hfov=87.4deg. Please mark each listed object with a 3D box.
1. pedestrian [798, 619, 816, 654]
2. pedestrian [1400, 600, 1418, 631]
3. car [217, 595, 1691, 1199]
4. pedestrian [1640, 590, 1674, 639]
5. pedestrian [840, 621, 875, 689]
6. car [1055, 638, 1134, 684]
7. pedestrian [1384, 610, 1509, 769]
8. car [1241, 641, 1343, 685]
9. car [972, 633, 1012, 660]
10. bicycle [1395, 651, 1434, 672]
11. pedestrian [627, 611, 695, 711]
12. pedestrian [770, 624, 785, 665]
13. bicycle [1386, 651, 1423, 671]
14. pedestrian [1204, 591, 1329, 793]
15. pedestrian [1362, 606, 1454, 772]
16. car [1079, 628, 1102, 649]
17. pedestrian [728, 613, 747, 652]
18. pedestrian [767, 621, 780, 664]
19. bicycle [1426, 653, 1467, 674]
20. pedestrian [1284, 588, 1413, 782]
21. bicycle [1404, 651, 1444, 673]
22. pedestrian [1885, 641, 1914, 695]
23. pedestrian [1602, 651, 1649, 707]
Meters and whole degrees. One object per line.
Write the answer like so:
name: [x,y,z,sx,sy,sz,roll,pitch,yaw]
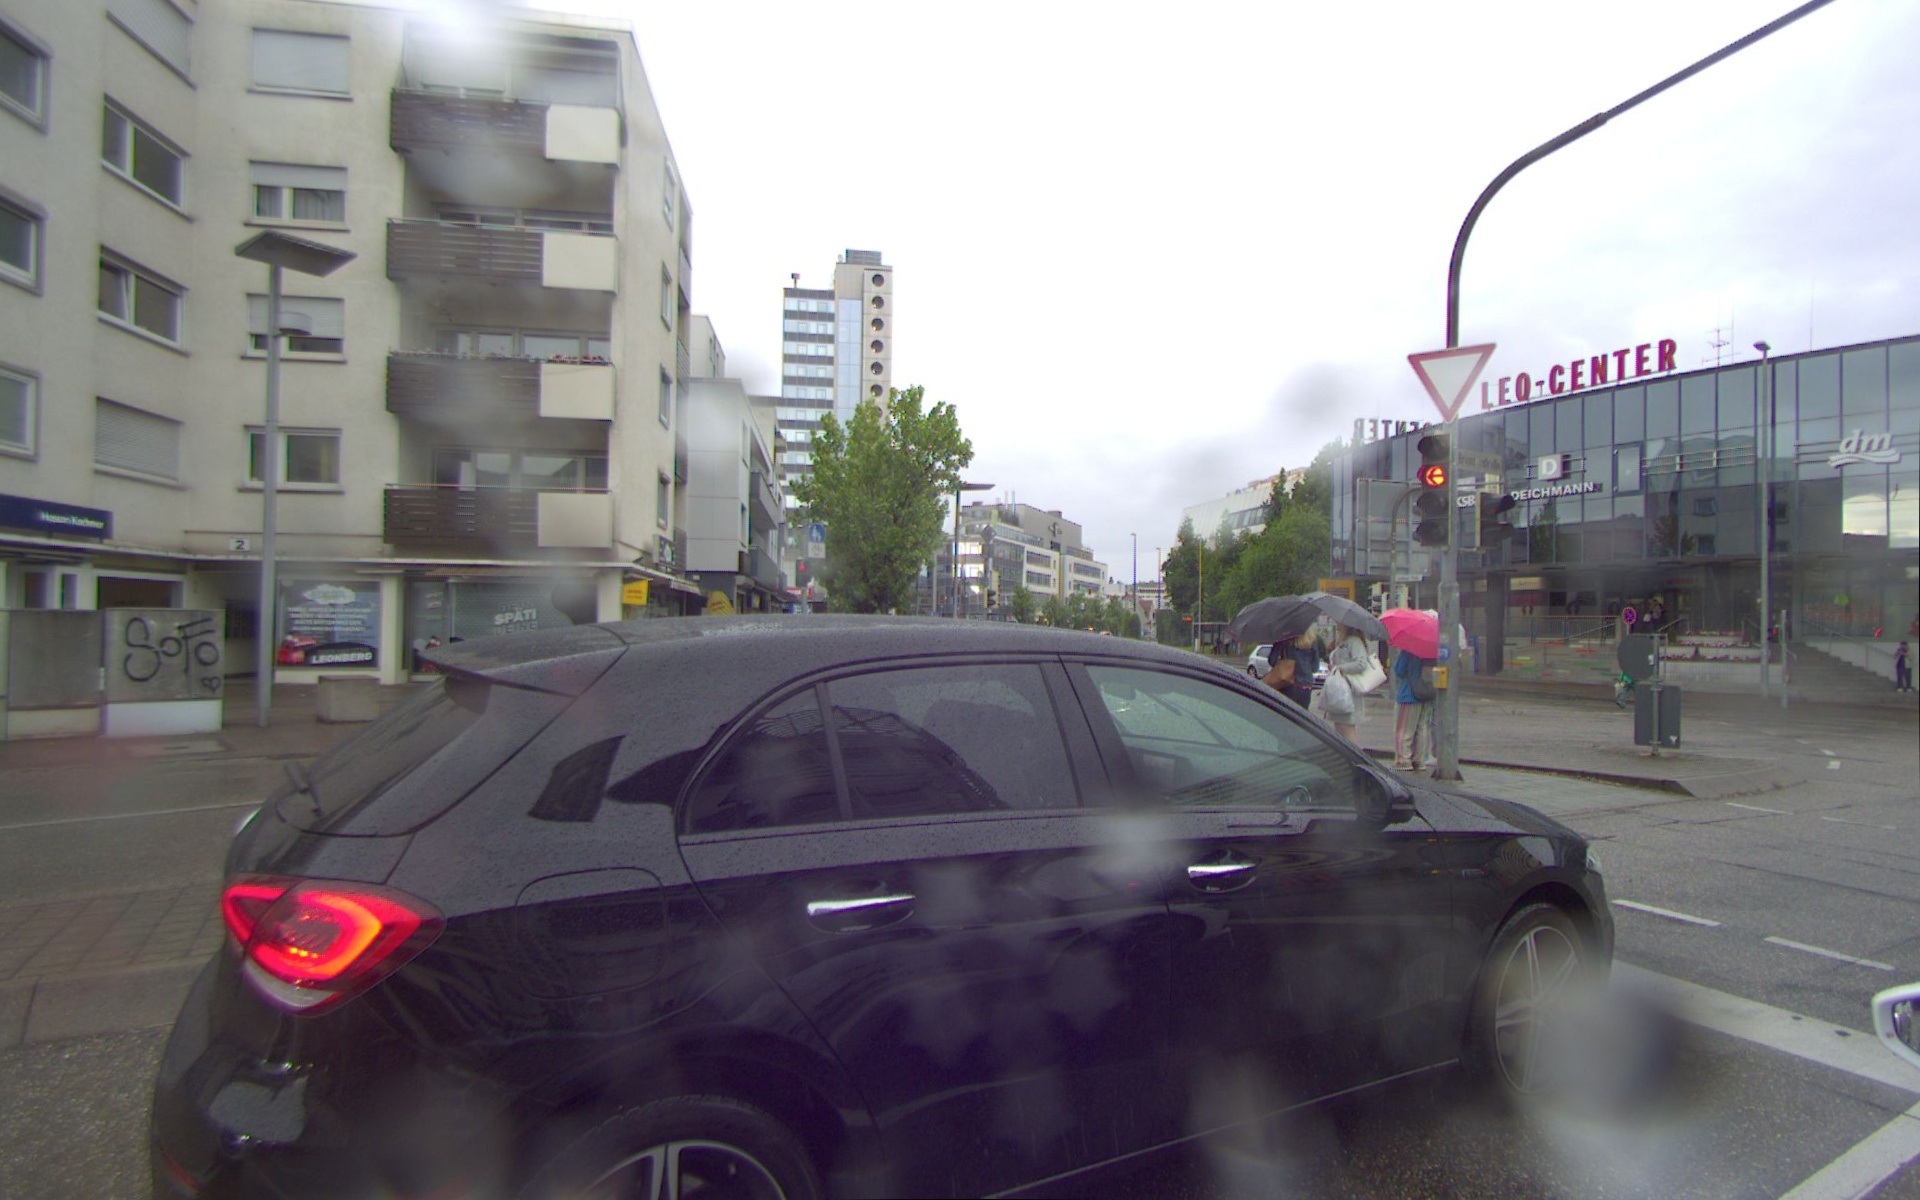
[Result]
pedestrian: [-8.160,1.949,53.554,0.859,1.835,0.923,1,-1,-10]
pedestrian: [25.532,0.874,57.096,0.642,1.736,0.599,2,0,-6]
car: [0.341,0.776,3.068,4.048,1.501,1.654,1,1,-32]
pedestrian: [30.136,0.619,43.446,0.941,2.040,0.826,2,0,-30]
pedestrian: [-2.561,1.378,25.225,0.799,1.677,0.714,1,-2,-3]
car: [4.686,2.097,35.728,2.082,1.432,5.147,2,-2,0]
pedestrian: [5.484,0.976,11.340,0.906,1.699,0.931,2,-2,-30]
car: [12.292,2.299,37.472,1.717,1.460,3.980,2,-1,-15]
car: [1.715,2.507,54.829,1.414,1.314,3.770,2,-1,-11]
bicycle: [23.924,3.224,52.884,1.822,1.047,0.628,-1,-1,-12]
pedestrian: [-4.972,0.999,16.682,0.904,1.606,0.651,2,-2,-33]
pedestrian: [-8.189,2.006,45.107,0.557,1.817,0.491,1,-2,-4]
bicycle: [23.694,3.240,53.549,1.821,0.964,0.535,-1,0,-8]
pedestrian: [2.872,0.823,9.384,0.937,1.759,0.835,0,-2,30]
pedestrian: [4.805,0.931,10.813,0.790,1.707,0.674,1,-2,14]
car: [12.481,3.653,96.196,2.008,1.921,4.141,1,-1,6]
pedestrian: [-11.687,1.700,52.794,0.859,2.040,0.923,1,-1,-10]
pedestrian: [-7.605,1.743,40.956,0.441,1.746,0.499,1,-2,-12]
bicycle: [24.477,3.182,50.518,1.822,1.036,0.631,0,-2,-12]
pedestrian: [3.763,0.801,9.828,0.843,1.767,1.139,1,-2,3]
bicycle: [24.077,3.219,52.142,1.822,1.056,0.646,-1,-1,-12]
pedestrian: [34.257,2.481,36.633,0.589,1.933,0.651,2,-1,-37]
pedestrian: [20.297,2.392,30.646,0.794,1.644,0.951,1,-2,-7]
